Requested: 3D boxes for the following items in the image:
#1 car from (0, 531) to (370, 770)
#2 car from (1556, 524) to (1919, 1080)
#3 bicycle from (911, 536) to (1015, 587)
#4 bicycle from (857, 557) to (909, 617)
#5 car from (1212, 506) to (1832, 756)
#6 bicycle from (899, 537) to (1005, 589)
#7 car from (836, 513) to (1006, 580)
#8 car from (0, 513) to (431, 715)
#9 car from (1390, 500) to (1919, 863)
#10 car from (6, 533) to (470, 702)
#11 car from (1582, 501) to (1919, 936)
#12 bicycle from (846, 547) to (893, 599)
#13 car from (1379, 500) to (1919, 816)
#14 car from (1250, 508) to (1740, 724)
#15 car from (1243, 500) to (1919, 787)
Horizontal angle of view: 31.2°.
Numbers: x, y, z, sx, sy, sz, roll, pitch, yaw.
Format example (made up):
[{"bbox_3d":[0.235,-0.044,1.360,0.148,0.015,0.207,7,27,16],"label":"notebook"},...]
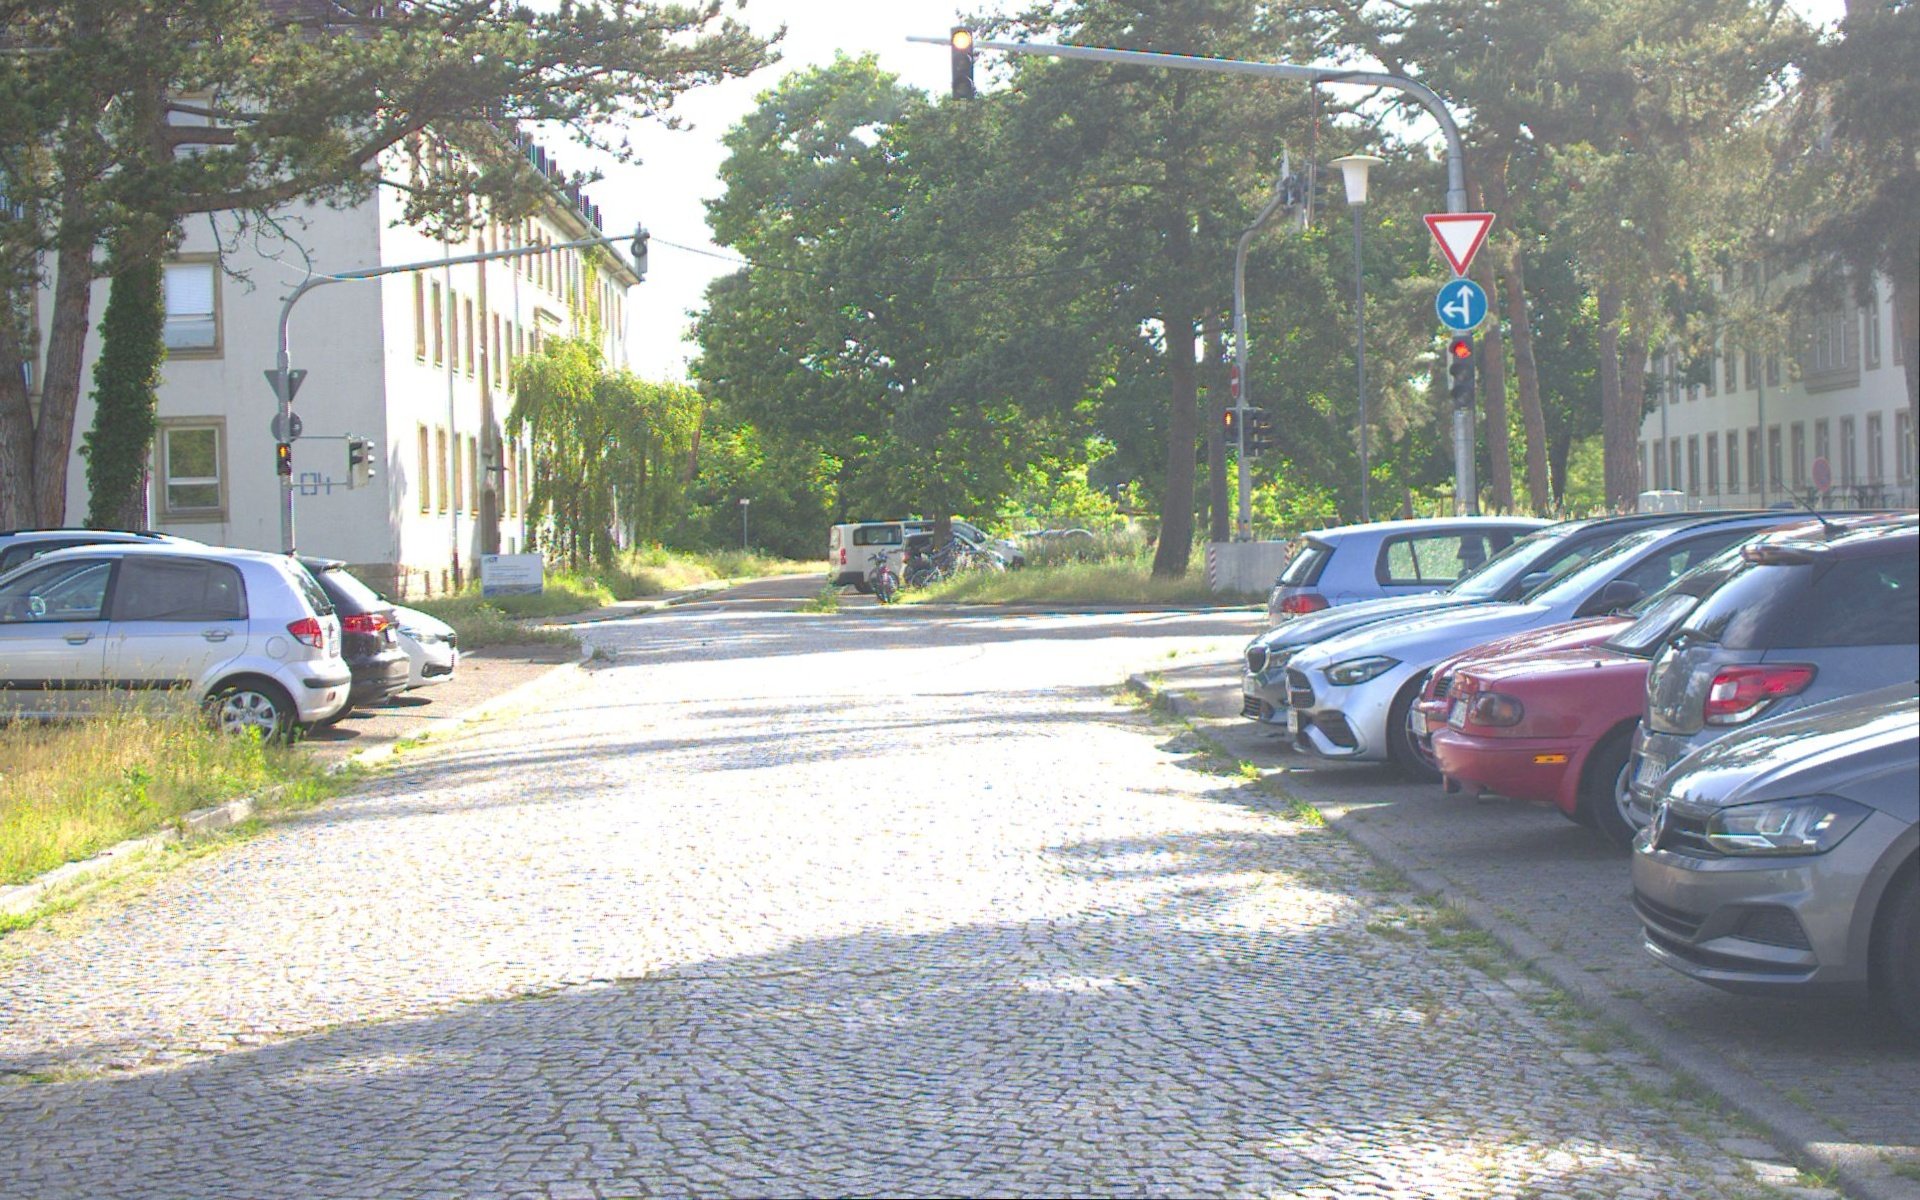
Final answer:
[{"bbox_3d":[-6.414,0.349,24.885,3.986,1.595,2.000,-2,1,-3],"label":"car"},{"bbox_3d":[3.793,0.479,10.211,3.675,1.462,1.646,-2,1,-2],"label":"car"},{"bbox_3d":[0.067,-0.859,75.861,2.172,1.096,0.807,-1,1,-10],"label":"bicycle"},{"bbox_3d":[-1.601,-0.278,71.253,0.804,1.165,2.181,-3,1,-7],"label":"bicycle"},{"bbox_3d":[3.713,0.182,23.131,3.835,1.524,1.646,-1,1,-2],"label":"car"},{"bbox_3d":[-0.180,-0.803,74.721,2.172,1.096,0.807,-1,1,-10],"label":"bicycle"},{"bbox_3d":[-1.053,-1.448,92.177,4.480,1.722,2.000,-1,1,-1],"label":"car"},{"bbox_3d":[-6.811,0.096,30.267,3.986,1.596,2.000,2,1,-1],"label":"car"},{"bbox_3d":[3.861,0.319,15.821,3.477,1.524,1.646,-1,1,-2],"label":"car"},{"bbox_3d":[-6.789,0.143,32.670,3.986,1.448,2.000,1,1,-1],"label":"car"},{"bbox_3d":[4.299,0.371,13.135,3.477,1.524,1.646,-1,1,-2],"label":"car"},{"bbox_3d":[-1.966,-0.594,74.751,0.804,1.096,2.181,-1,1,-7],"label":"bicycle"},{"bbox_3d":[4.156,0.259,18.182,3.602,1.524,1.646,-1,1,-2],"label":"car"},{"bbox_3d":[3.960,0.094,25.773,3.343,1.477,1.646,-1,1,-2],"label":"car"},{"bbox_3d":[3.822,0.219,20.360,4.033,1.524,1.646,-2,1,-4],"label":"car"}]
